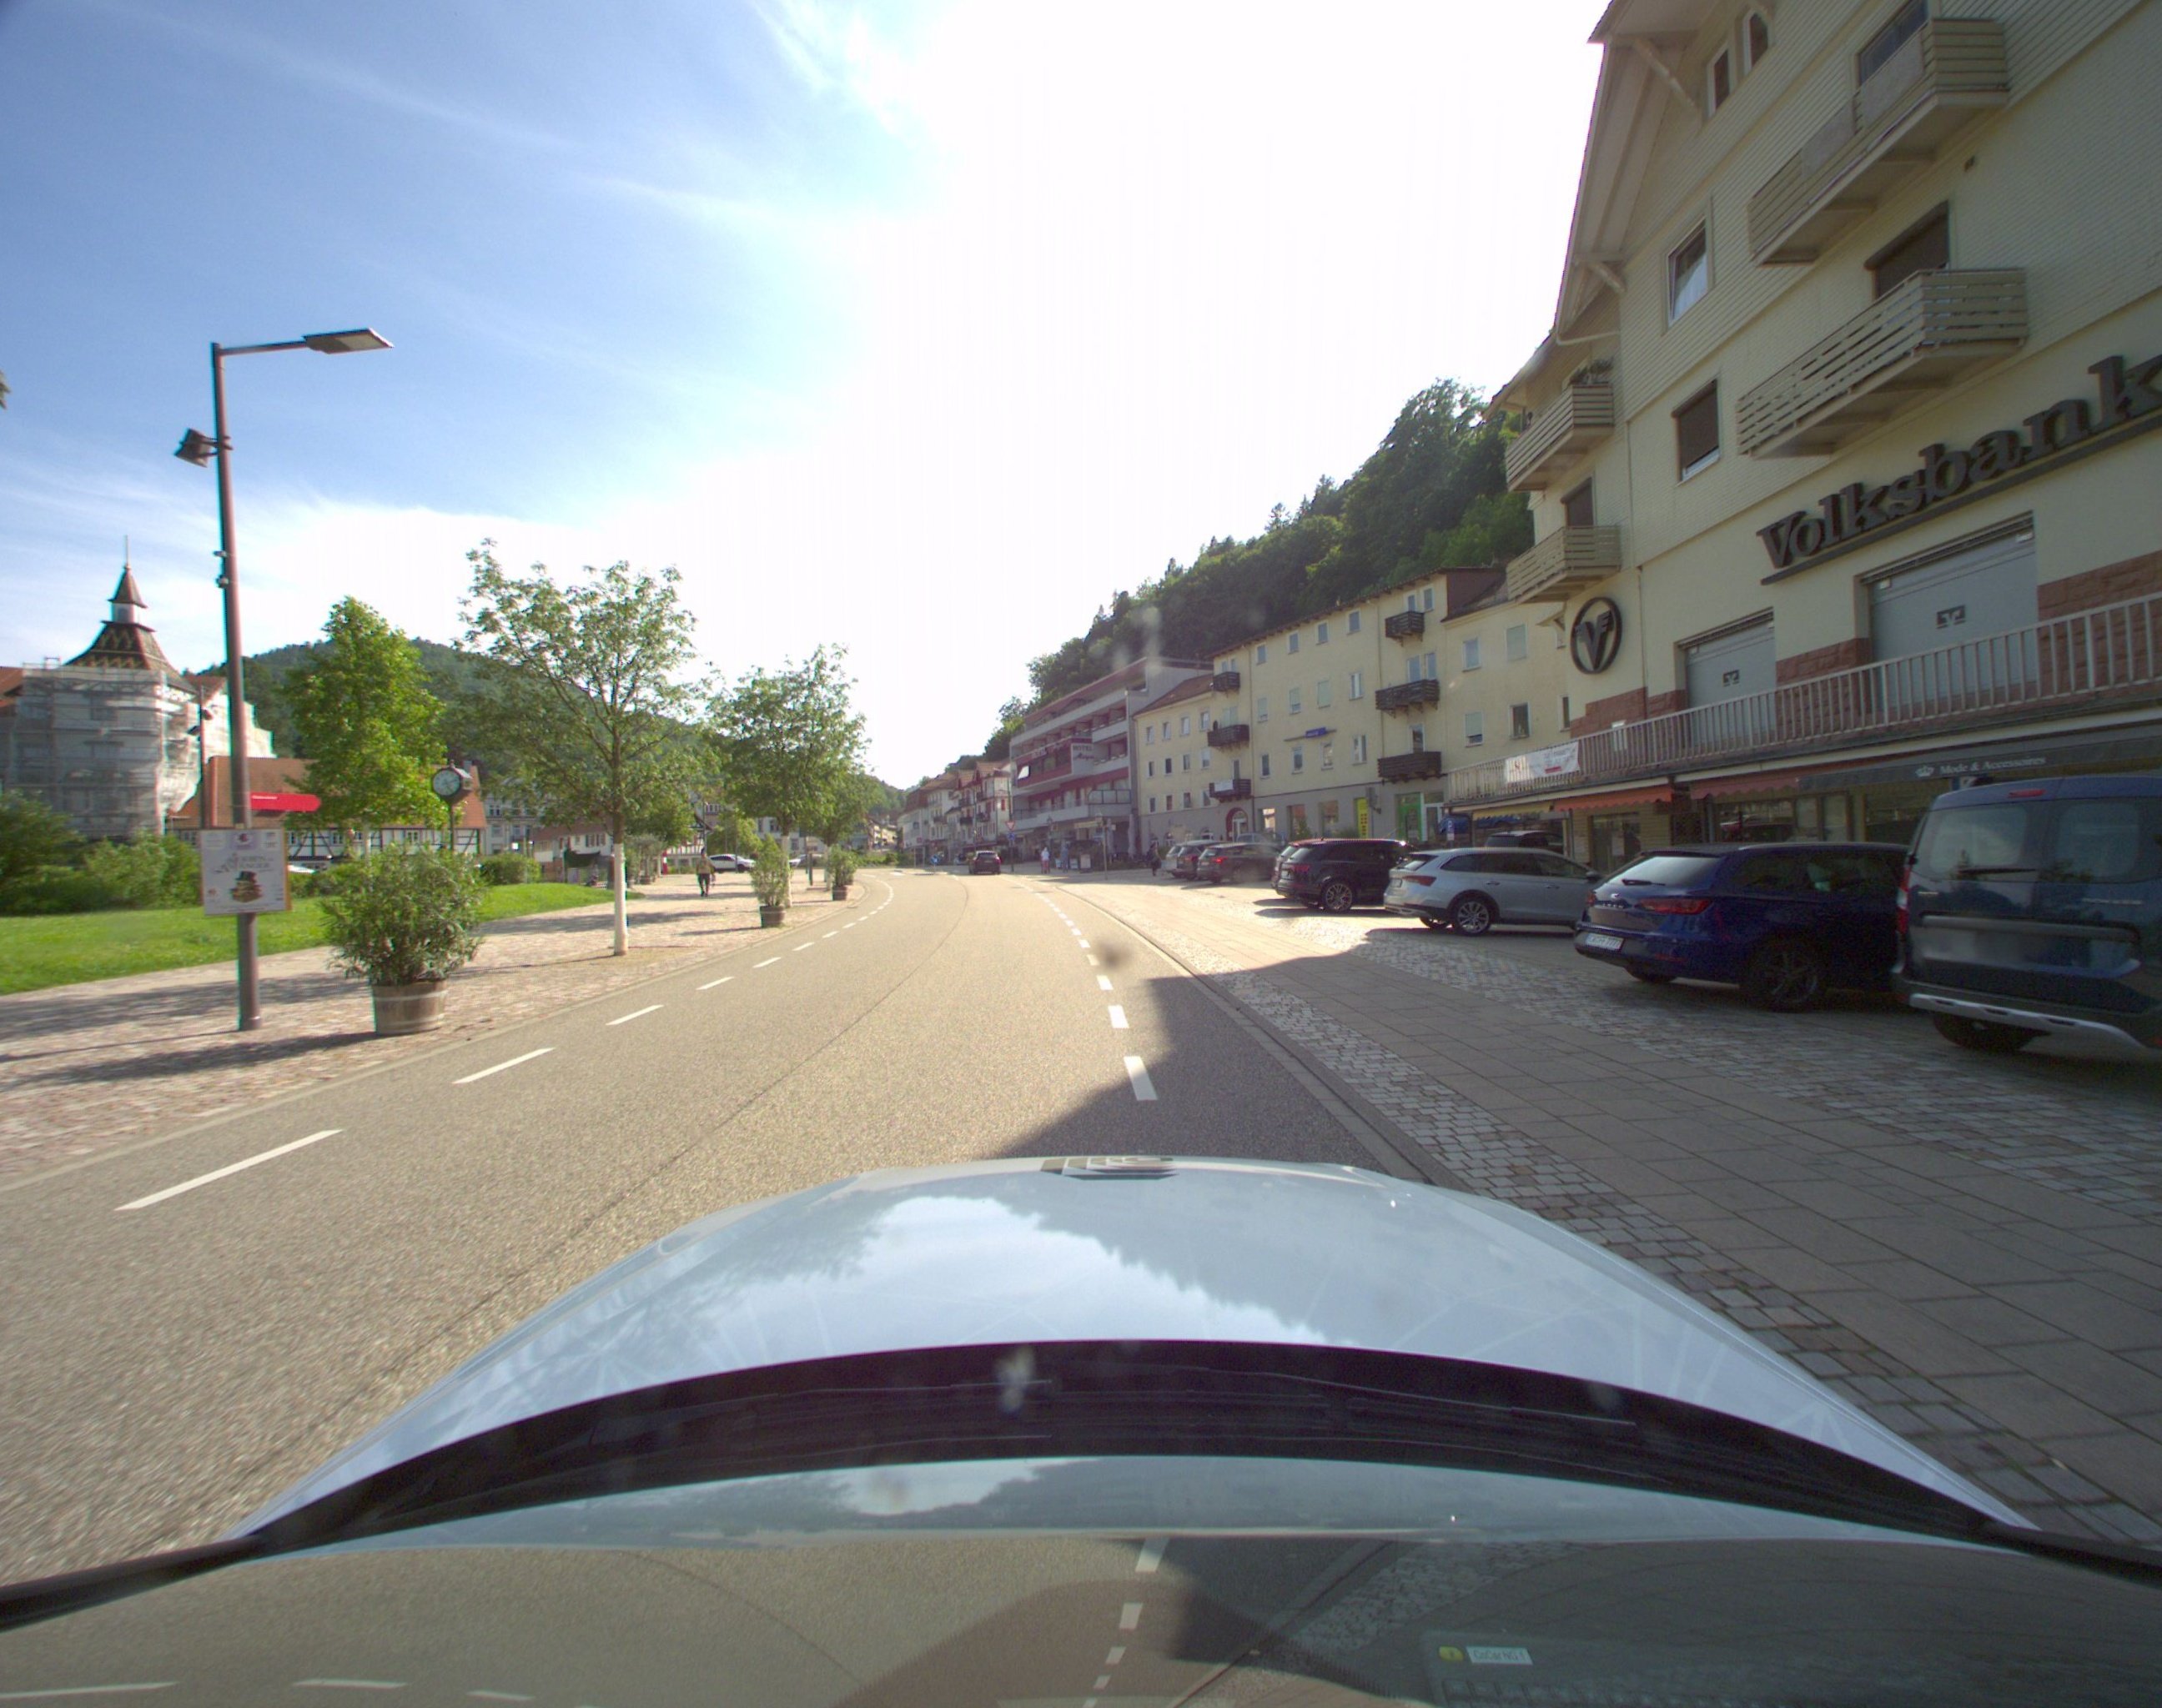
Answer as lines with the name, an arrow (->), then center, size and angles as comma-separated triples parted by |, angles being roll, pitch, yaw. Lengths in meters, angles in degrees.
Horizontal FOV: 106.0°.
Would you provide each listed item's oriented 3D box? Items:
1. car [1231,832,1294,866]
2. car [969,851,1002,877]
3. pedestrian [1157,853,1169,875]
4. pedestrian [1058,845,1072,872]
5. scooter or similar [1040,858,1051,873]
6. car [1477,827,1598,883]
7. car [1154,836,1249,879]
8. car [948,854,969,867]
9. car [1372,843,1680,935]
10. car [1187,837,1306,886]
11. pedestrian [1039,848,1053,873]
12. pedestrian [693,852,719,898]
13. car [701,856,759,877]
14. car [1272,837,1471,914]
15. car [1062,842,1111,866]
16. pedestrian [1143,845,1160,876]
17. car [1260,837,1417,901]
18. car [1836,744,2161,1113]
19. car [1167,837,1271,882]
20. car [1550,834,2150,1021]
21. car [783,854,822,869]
car -> 11.247, -0.343, 50.626 | 1.868, 2.013, 3.644 | -1, 1, -29
car -> -6.330, 0.608, 53.763 | 1.729, 1.574, 3.736 | -2, 1, -13
pedestrian -> 4.030, 0.488, 40.166 | 0.413, 1.002, 0.534 | -4, 0, 20
pedestrian -> -1.016, 0.297, 52.475 | 0.671, 1.728, 0.702 | -1, 0, -21
scooter or similar -> -2.333, 0.757, 52.993 | 0.598, 0.950, 0.471 | -1, 0, -21
car -> 14.953, 0.000, 26.647 | 3.936, 1.609, 1.755 | -3, 1, -31
car -> 5.488, 0.139, 37.207 | 3.873, 1.612, 1.761 | -5, 2, -19
car -> -15.272, 0.806, 101.574 | 1.683, 1.620, 3.970 | -1, 0, -22
car -> 7.501, 0.595, 14.093 | 4.337, 1.461, 1.774 | -1, -2, 4
car -> 6.271, 0.249, 30.939 | 4.022, 1.516, 1.761 | -5, 2, -19
pedestrian -> -2.278, 0.396, 52.830 | 0.760, 1.594, 0.624 | -1, 0, -21
pedestrian -> -14.986, 0.834, 32.558 | 0.869, 1.815, 0.687 | -1, 0, -20
car -> -29.383, 1.054, 68.163 | 4.143, 1.616, 1.695 | -2, 0, 10
car -> 6.715, 0.482, 19.126 | 4.068, 1.666, 1.773 | 1, 0, 2
car -> 0.370, -0.009, 58.142 | 3.173, 1.663, 1.584 | -2, 0, -19
pedestrian -> 3.510, 0.315, 40.385 | 0.731, 1.442, 0.633 | -4, 0, 4
car -> 7.168, 0.388, 22.994 | 3.894, 1.700, 1.774 | 1, 1, 2
car -> 7.287, 0.406, 4.817 | 3.894, 1.804, 1.858 | 1, -1, 2
car -> 5.815, 0.220, 34.393 | 3.873, 1.549, 1.761 | -5, 2, -19
car -> 6.809, 0.599, 7.569 | 3.894, 1.461, 1.737 | 1, 0, 2
car -> -28.426, 0.786, 83.245 | 1.672, 1.420, 4.200 | -2, 0, 16
